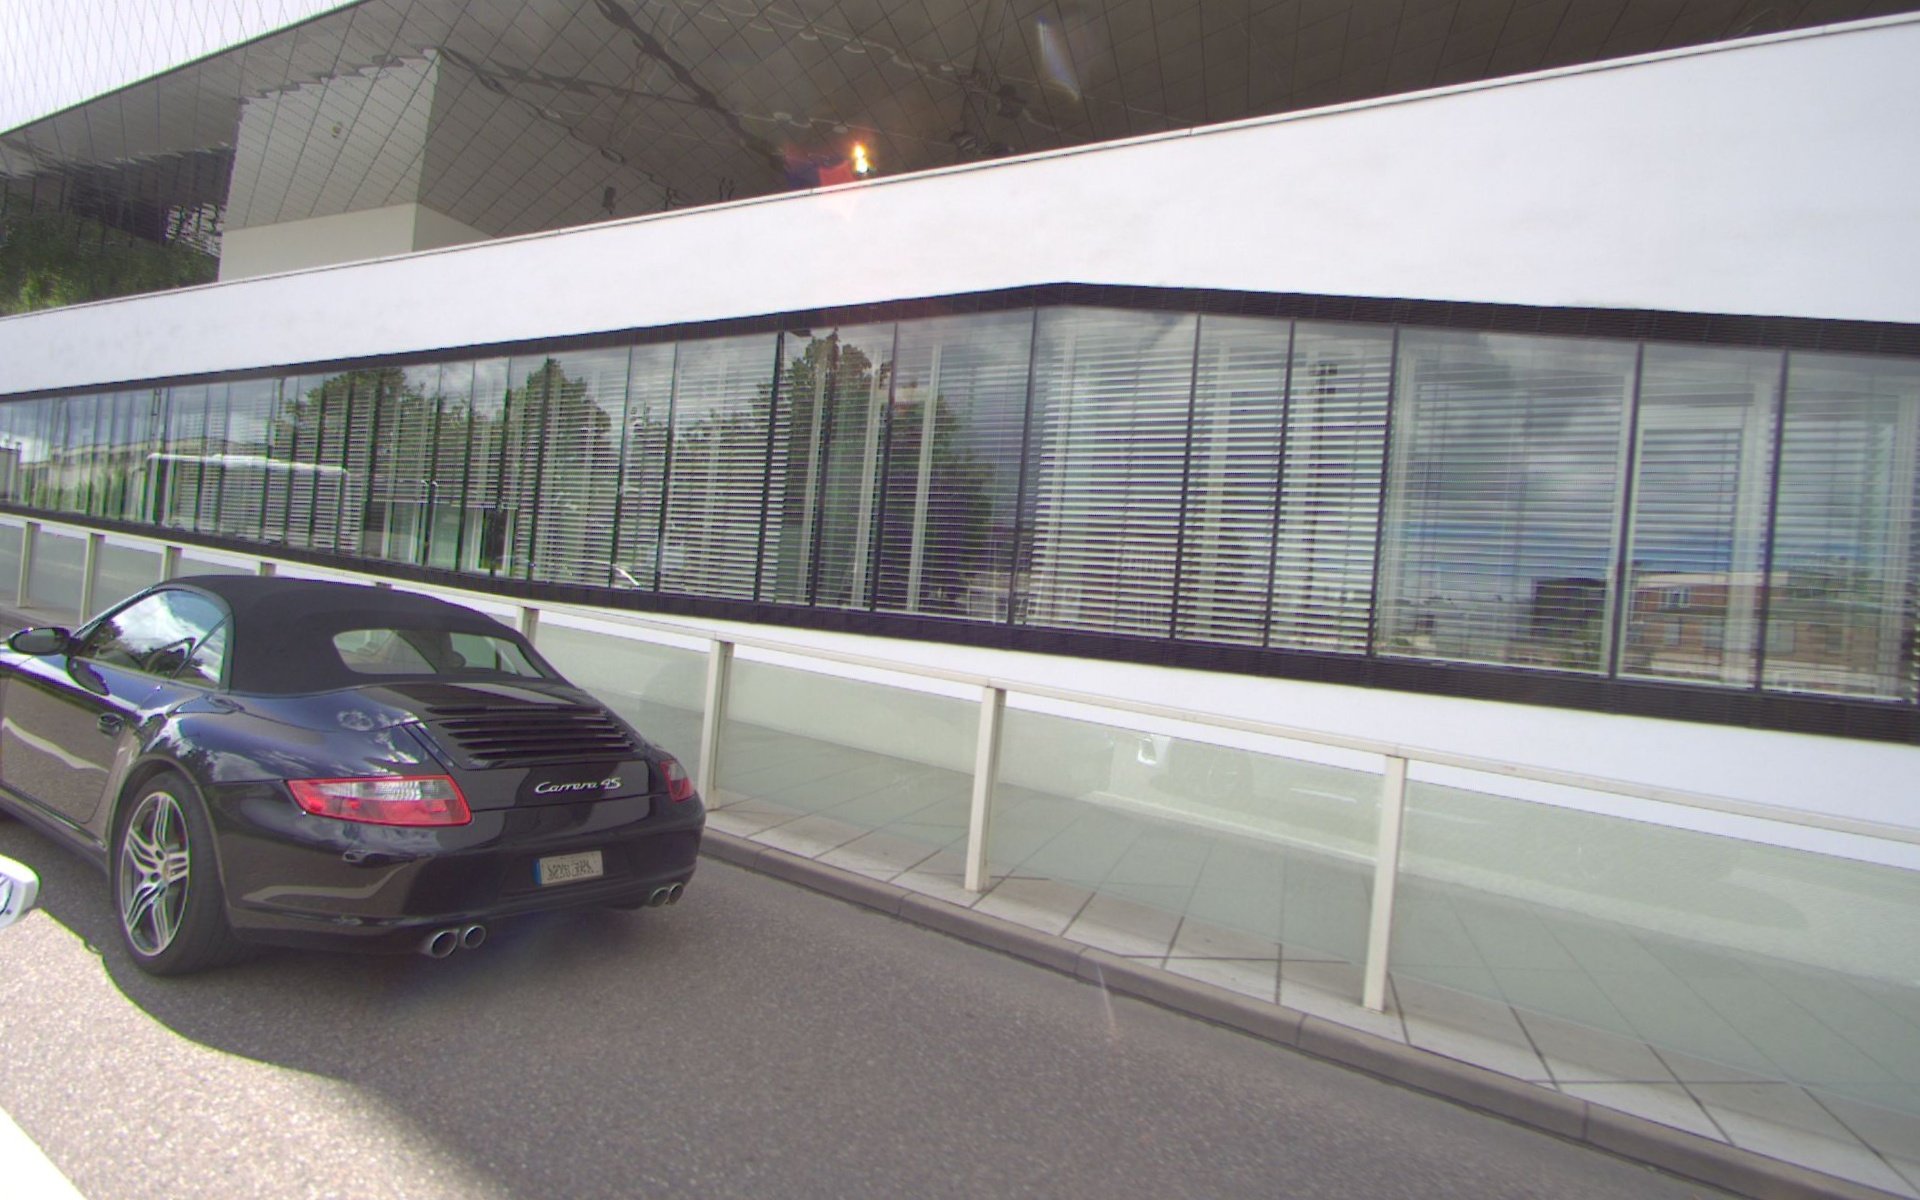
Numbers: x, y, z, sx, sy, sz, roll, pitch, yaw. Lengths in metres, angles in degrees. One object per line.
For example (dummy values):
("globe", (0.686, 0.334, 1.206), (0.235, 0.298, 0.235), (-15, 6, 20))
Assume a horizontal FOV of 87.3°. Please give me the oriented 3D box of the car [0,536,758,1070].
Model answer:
("car", (-3.067, 0.541, 4.563), (4.020, 1.290, 1.723), (6, -1, 31))
